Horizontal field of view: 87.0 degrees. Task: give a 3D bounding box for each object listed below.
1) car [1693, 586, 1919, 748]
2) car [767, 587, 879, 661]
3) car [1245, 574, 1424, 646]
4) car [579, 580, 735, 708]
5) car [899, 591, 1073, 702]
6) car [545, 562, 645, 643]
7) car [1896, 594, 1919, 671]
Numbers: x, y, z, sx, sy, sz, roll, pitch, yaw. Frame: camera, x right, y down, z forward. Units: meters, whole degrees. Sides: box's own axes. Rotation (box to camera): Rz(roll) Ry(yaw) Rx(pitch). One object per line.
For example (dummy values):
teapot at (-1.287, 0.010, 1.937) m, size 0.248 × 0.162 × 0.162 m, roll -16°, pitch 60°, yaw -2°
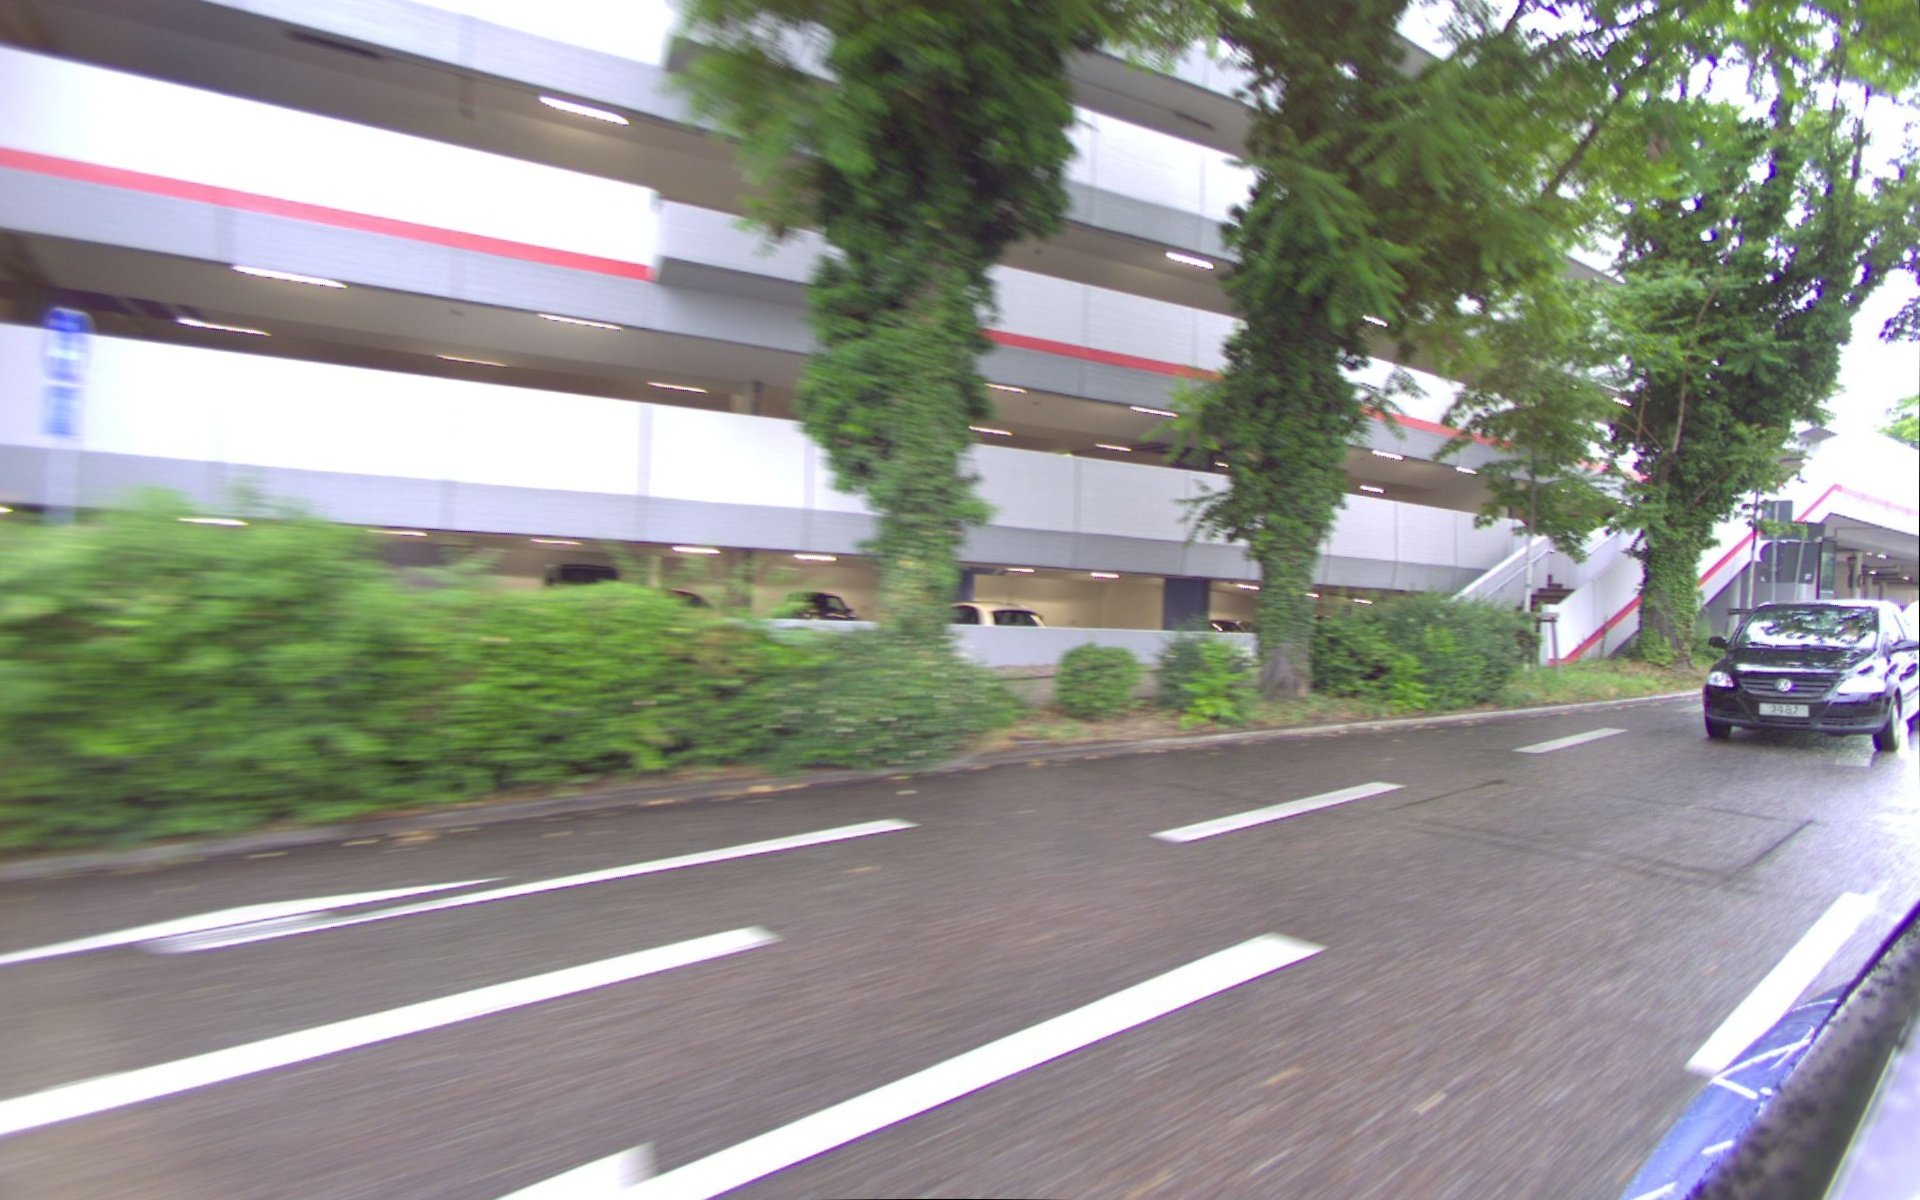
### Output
car at (9.965, 0.654, 11.608) m, size 3.919 × 1.545 × 1.682 m, roll 1°, pitch -1°, yaw -41°
car at (-3.846, 0.588, 27.807) m, size 1.779 × 1.805 × 4.006 m, roll 1°, pitch 1°, yaw -28°
car at (9.117, 0.212, 24.889) m, size 1.775 × 1.560 × 3.746 m, roll 4°, pitch -1°, yaw -35°
car at (-4.999, 0.604, 16.404) m, size 1.779 × 1.805 × 3.472 m, roll 1°, pitch 1°, yaw -28°
car at (0.400, 0.775, 19.032) m, size 1.779 × 1.805 × 3.472 m, roll 1°, pitch 1°, yaw -28°
car at (-9.070, 0.007, 24.957) m, size 1.779 × 1.805 × 4.006 m, roll 1°, pitch 1°, yaw -28°
car at (20.914, 0.636, 20.929) m, size 3.968 × 1.470 × 1.913 m, roll -1°, pitch 1°, yaw -42°
